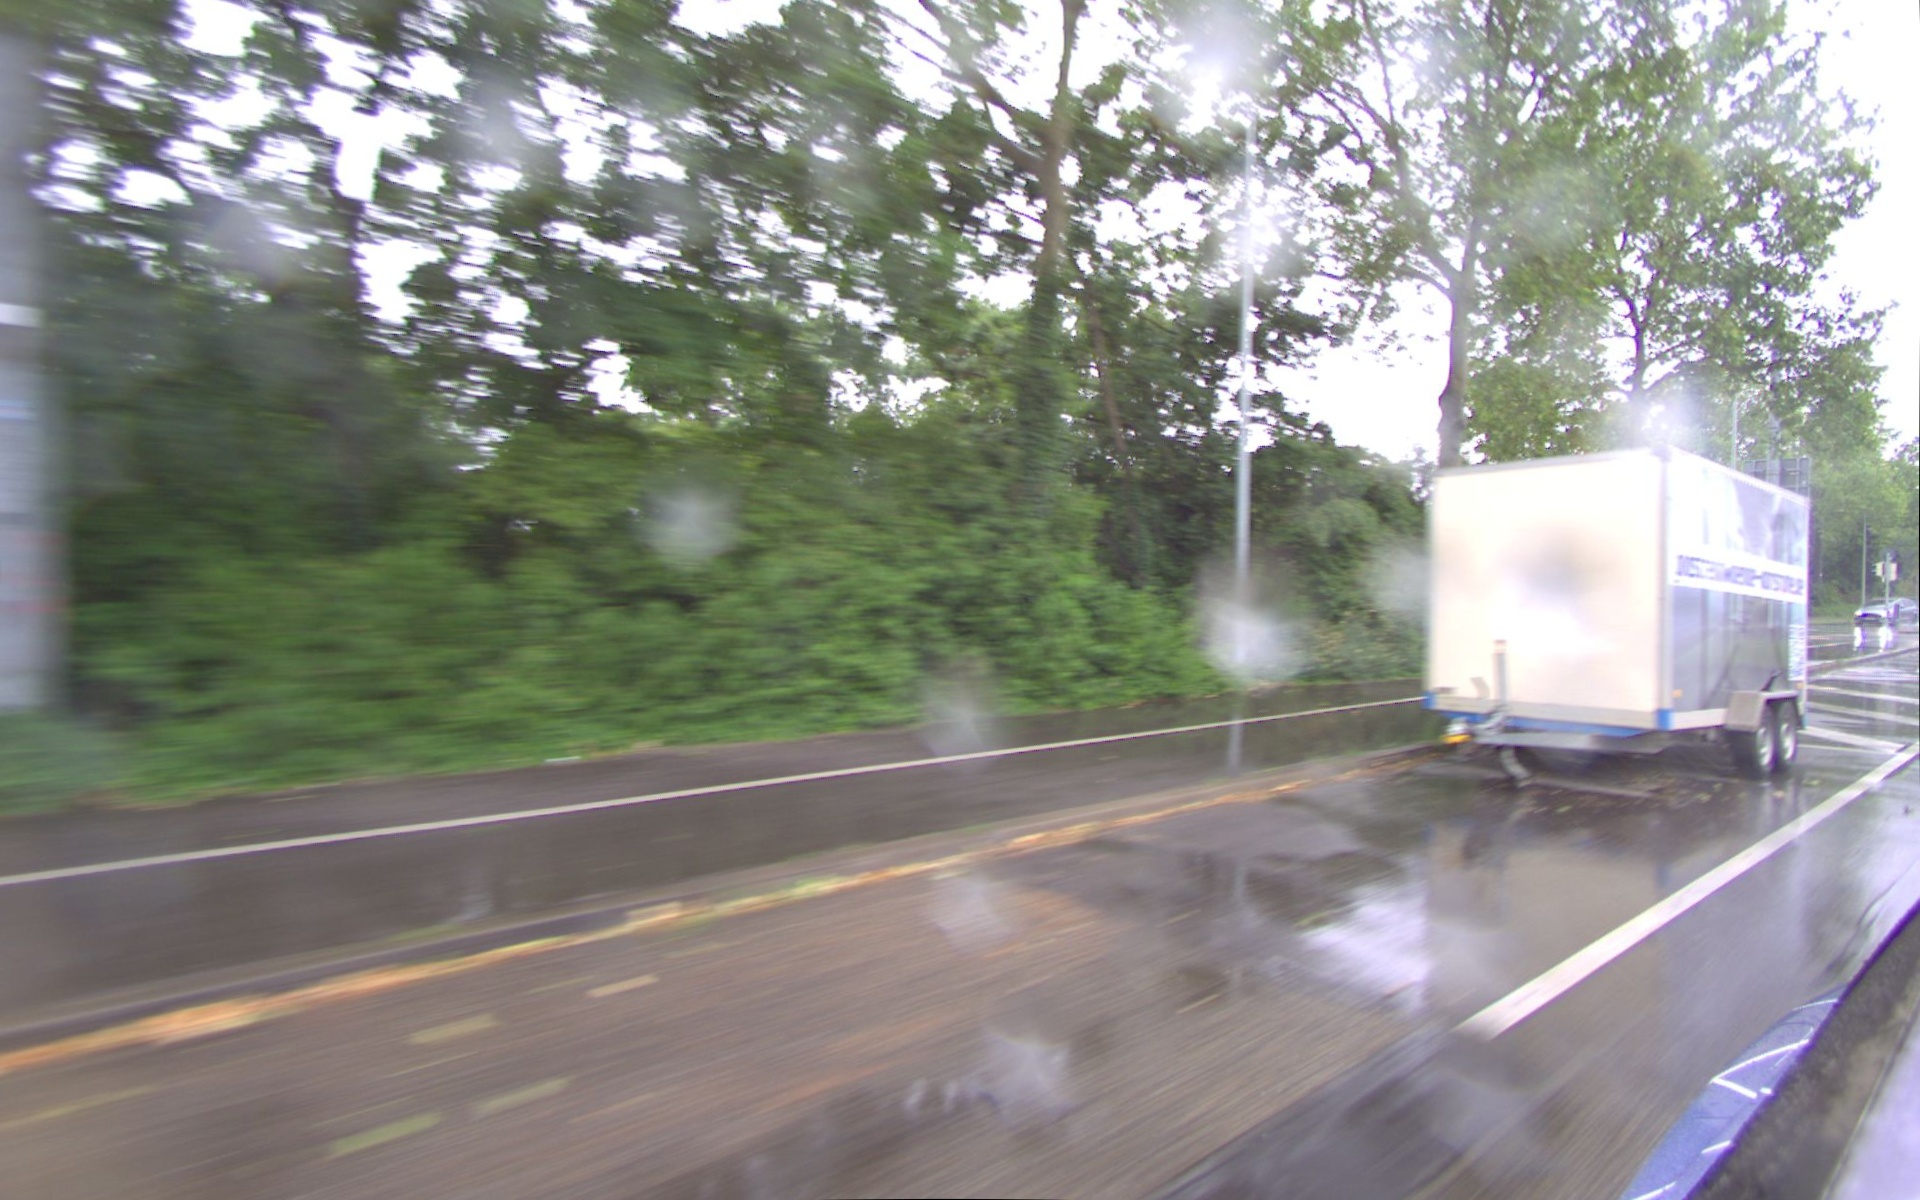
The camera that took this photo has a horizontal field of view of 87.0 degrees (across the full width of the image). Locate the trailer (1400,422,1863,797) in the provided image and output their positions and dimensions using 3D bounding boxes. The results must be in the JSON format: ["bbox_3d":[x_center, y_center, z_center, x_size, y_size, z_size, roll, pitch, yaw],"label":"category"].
[{"bbox_3d":[6.903,0.018,10.119,5.572,2.792,2.172,-1,1,-37],"label":"trailer"}]
